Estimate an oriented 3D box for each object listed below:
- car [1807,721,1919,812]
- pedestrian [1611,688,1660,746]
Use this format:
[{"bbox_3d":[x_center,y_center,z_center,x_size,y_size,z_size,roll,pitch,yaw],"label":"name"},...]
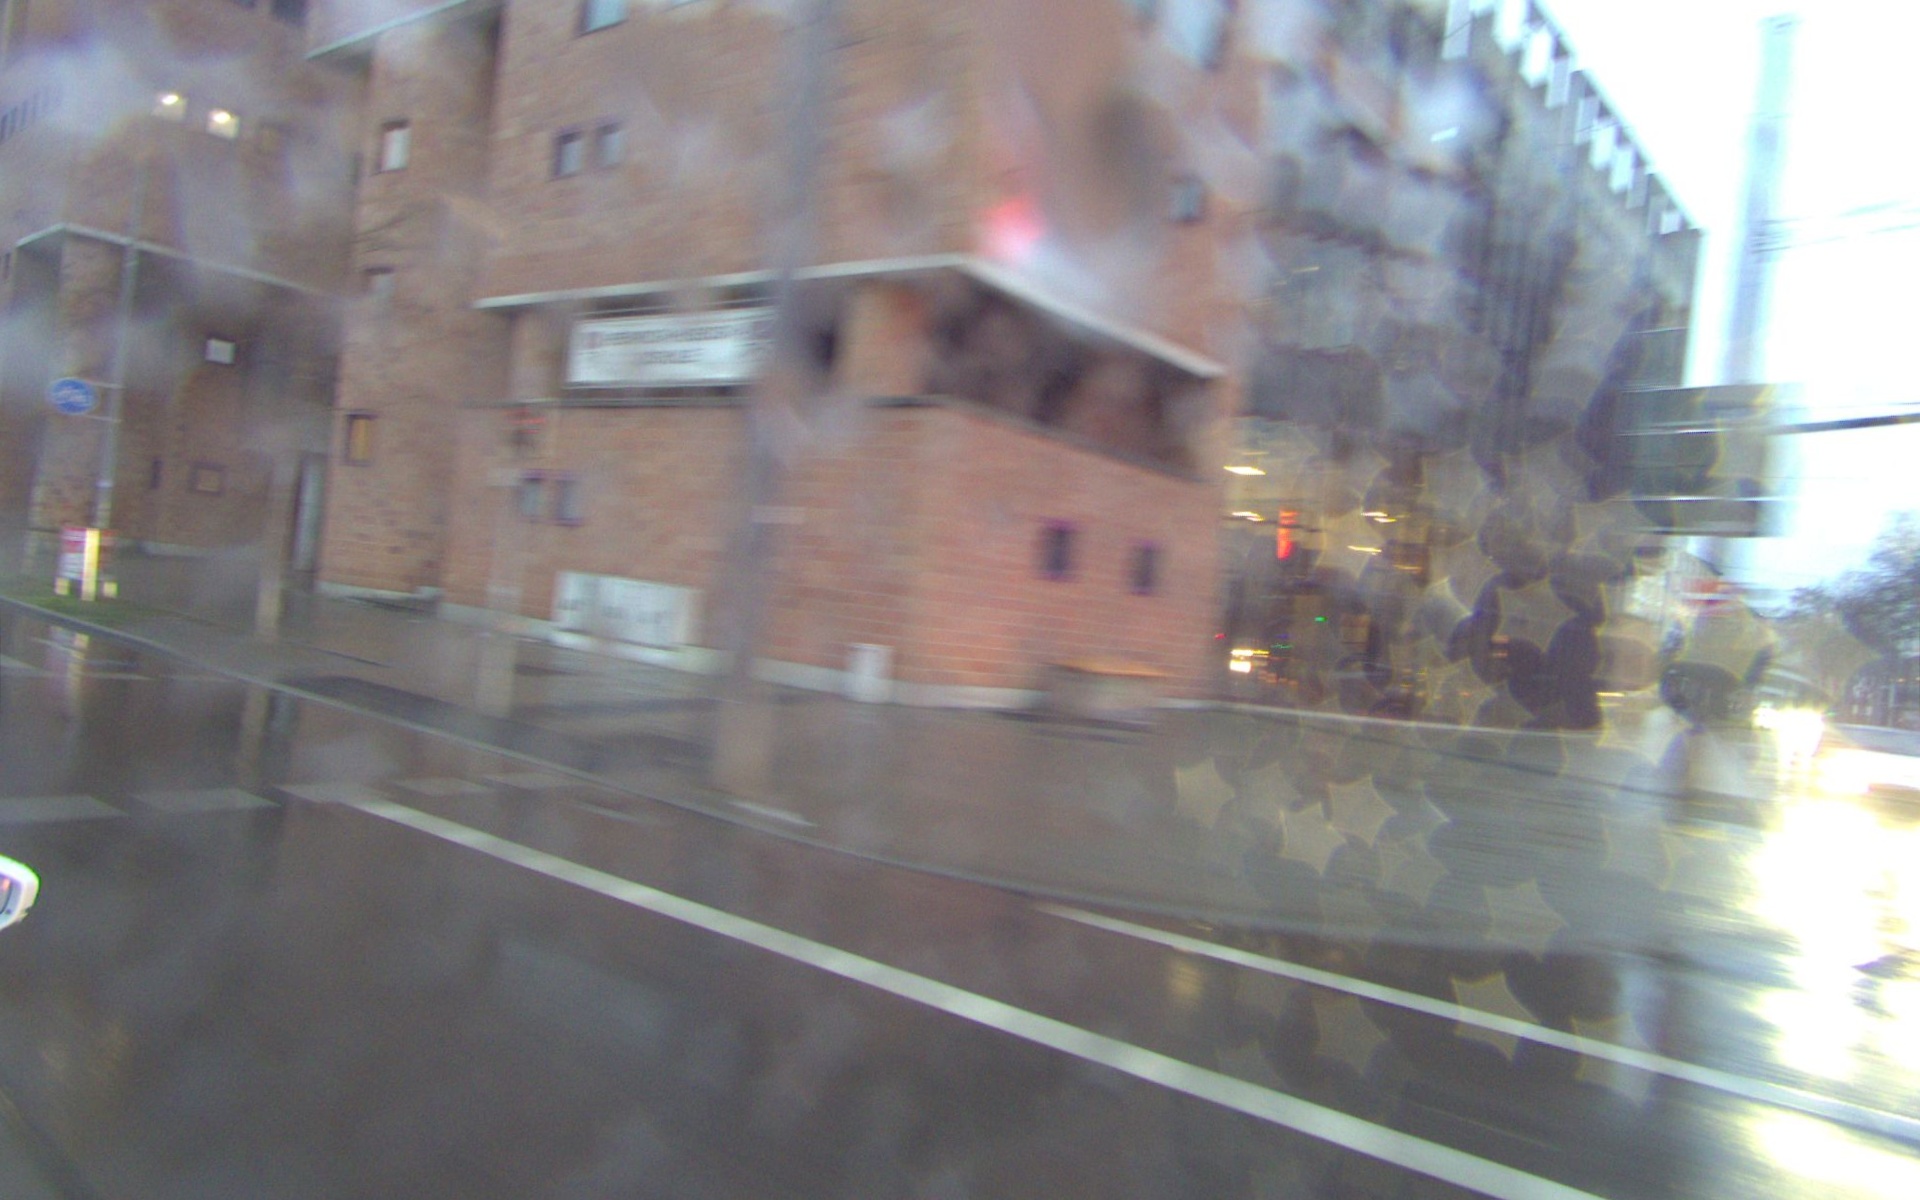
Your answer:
[{"bbox_3d":[17.520,3.128,19.111,1.786,1.326,3.981,6,-1,36],"label":"car"},{"bbox_3d":[17.903,3.109,26.664,0.732,1.406,0.730,6,0,-34],"label":"pedestrian"}]
